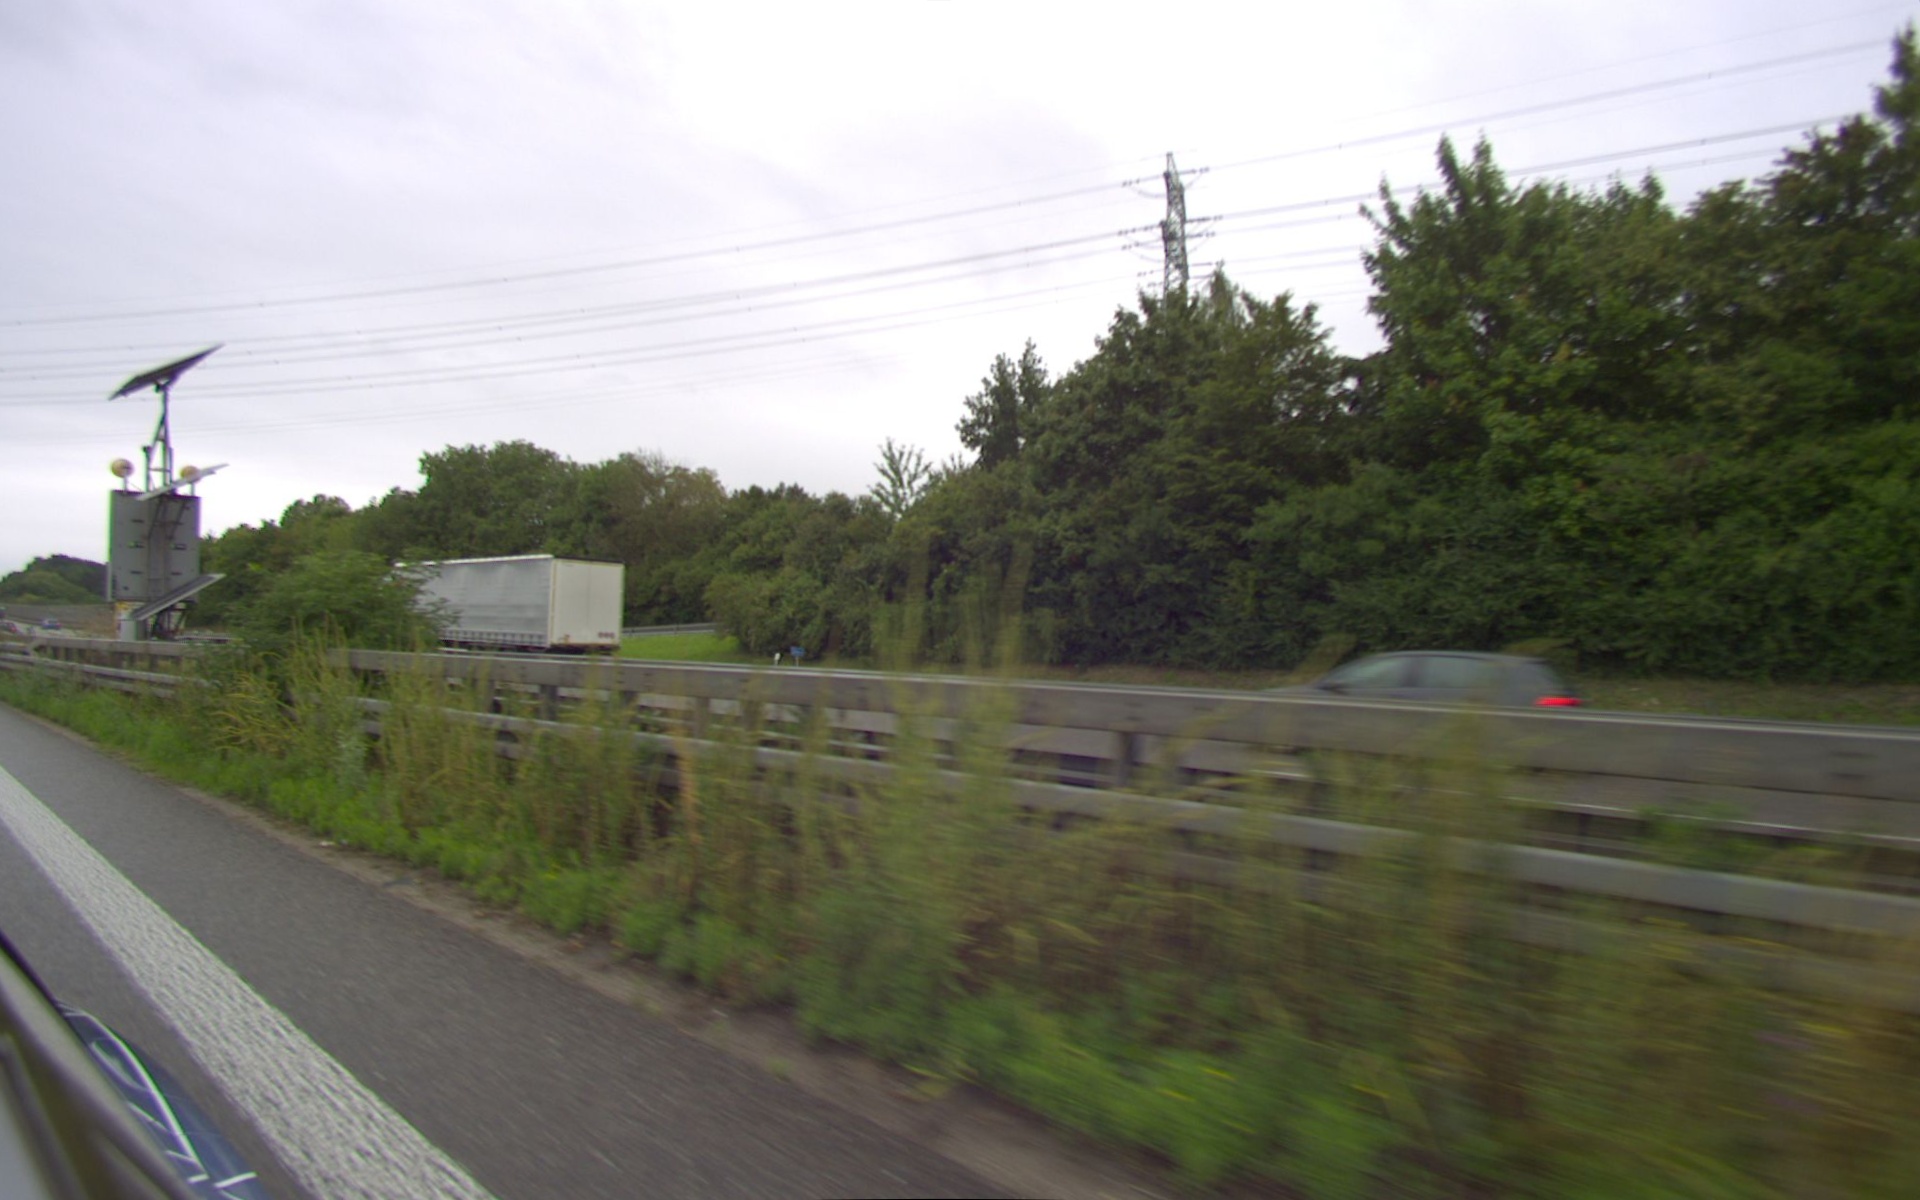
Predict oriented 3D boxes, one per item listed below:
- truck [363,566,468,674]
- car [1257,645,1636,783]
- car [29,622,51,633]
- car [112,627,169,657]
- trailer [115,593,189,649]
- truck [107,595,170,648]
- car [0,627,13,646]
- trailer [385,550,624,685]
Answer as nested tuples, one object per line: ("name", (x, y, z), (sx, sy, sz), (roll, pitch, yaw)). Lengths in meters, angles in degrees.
("truck", (-22.924, 0.868, 42.589), (3.998, 4.269, 2.615), (-2, -3, 41))
("car", (5.969, 1.300, 12.702), (3.998, 1.408, 1.661), (-1, -3, 41))
("car", (-131.799, 3.875, 144.994), (3.999, 1.555, 1.947), (-1, -2, 42))
("car", (-47.460, 2.393, 58.568), (4.470, 1.651, 1.805), (-1, -3, 41))
("trailer", (-62.347, 1.654, 77.990), (9.196, 4.086, 2.733), (-1, -4, 41))
("truck", (-65.843, 1.764, 81.069), (6.154, 4.086, 2.733), (-1, -4, 41))
("car", (-77.455, 2.912, 81.281), (3.998, 1.554, 1.647), (-1, -3, 41))
("trailer", (-17.360, 0.718, 37.650), (13.905, 4.269, 2.615), (-1, -2, 42))
